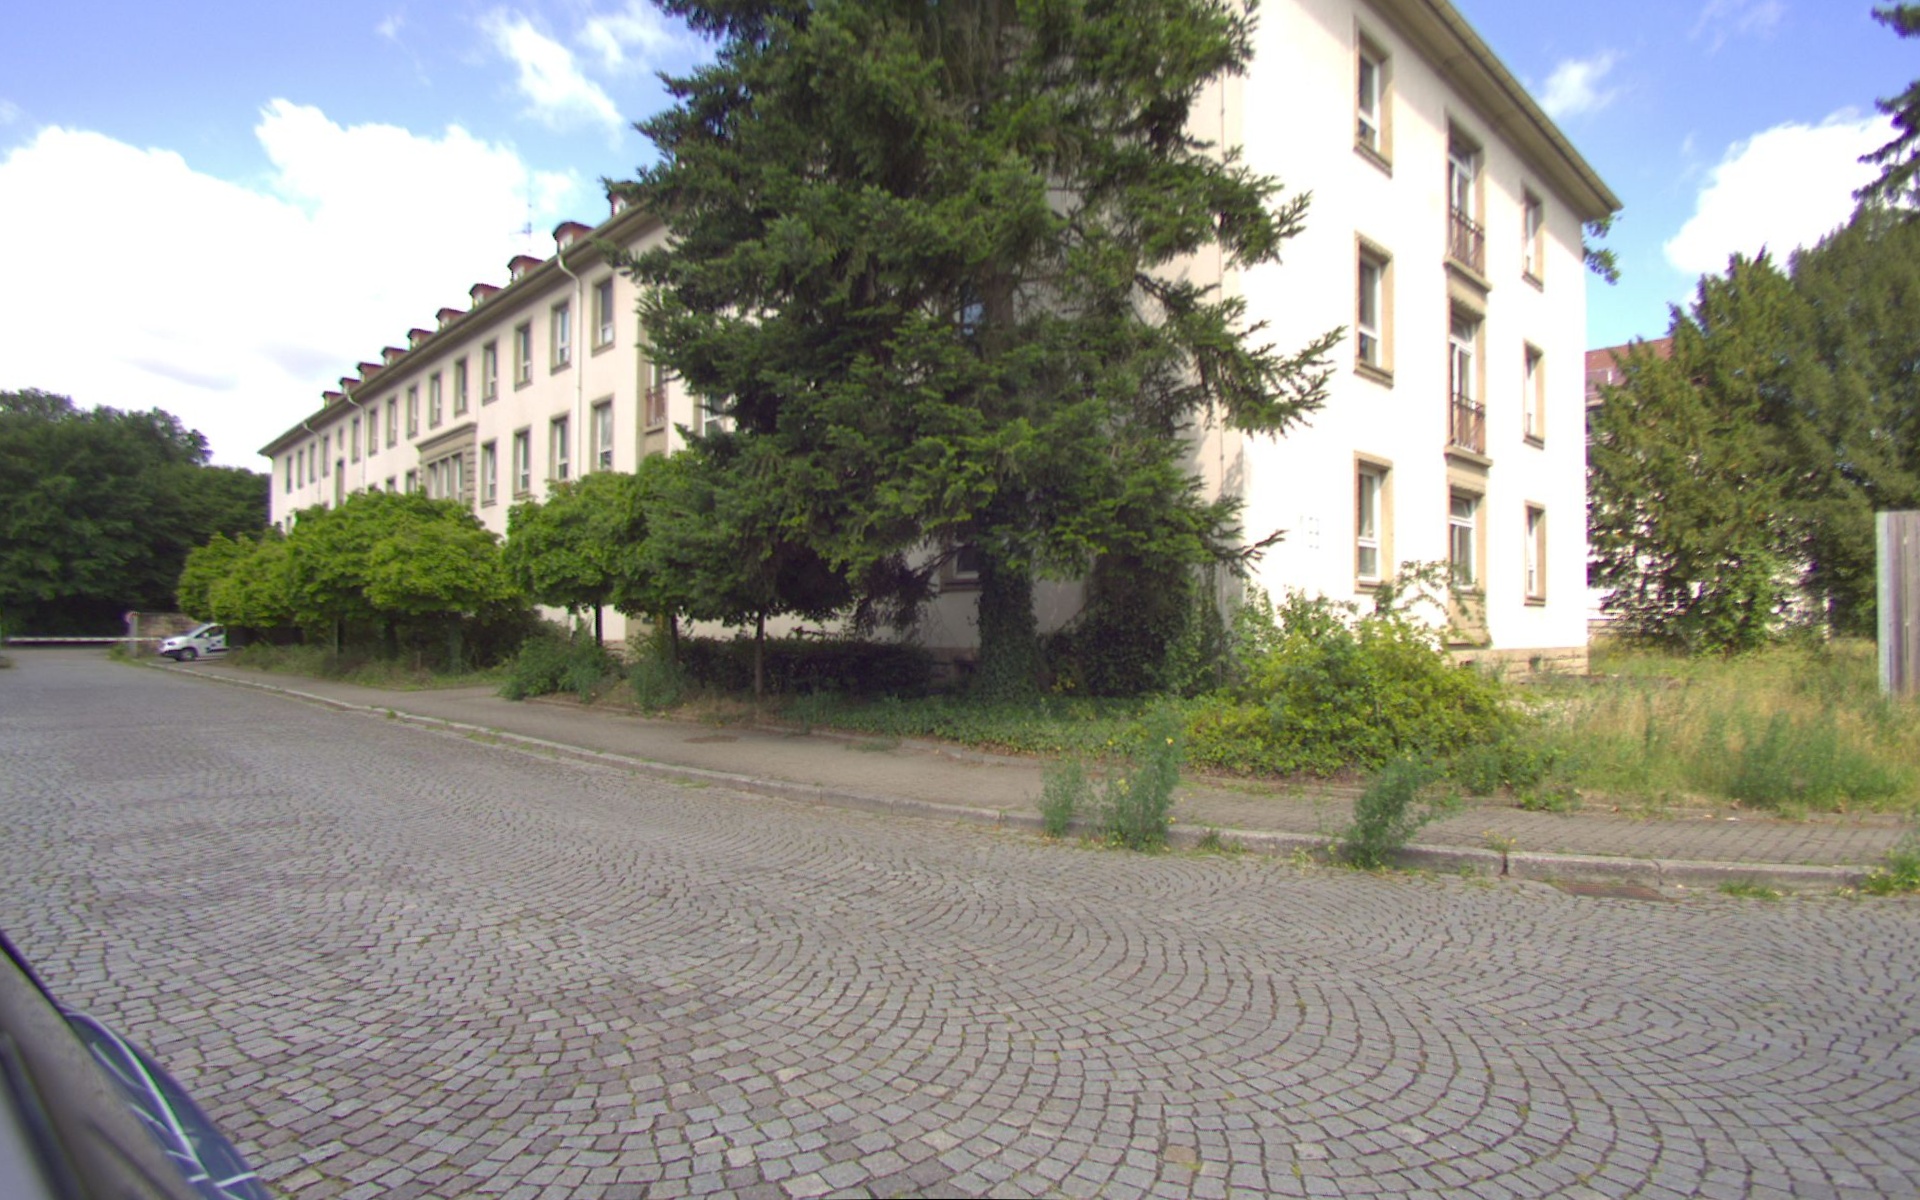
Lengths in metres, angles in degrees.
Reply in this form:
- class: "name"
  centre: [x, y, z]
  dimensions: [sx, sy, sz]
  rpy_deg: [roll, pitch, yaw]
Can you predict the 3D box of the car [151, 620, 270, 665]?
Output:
- class: "car"
  centre: [-35.462, 1.975, 47.961]
  dimensions: [1.820, 1.819, 4.254]
  rpy_deg: [-1, 1, 43]
